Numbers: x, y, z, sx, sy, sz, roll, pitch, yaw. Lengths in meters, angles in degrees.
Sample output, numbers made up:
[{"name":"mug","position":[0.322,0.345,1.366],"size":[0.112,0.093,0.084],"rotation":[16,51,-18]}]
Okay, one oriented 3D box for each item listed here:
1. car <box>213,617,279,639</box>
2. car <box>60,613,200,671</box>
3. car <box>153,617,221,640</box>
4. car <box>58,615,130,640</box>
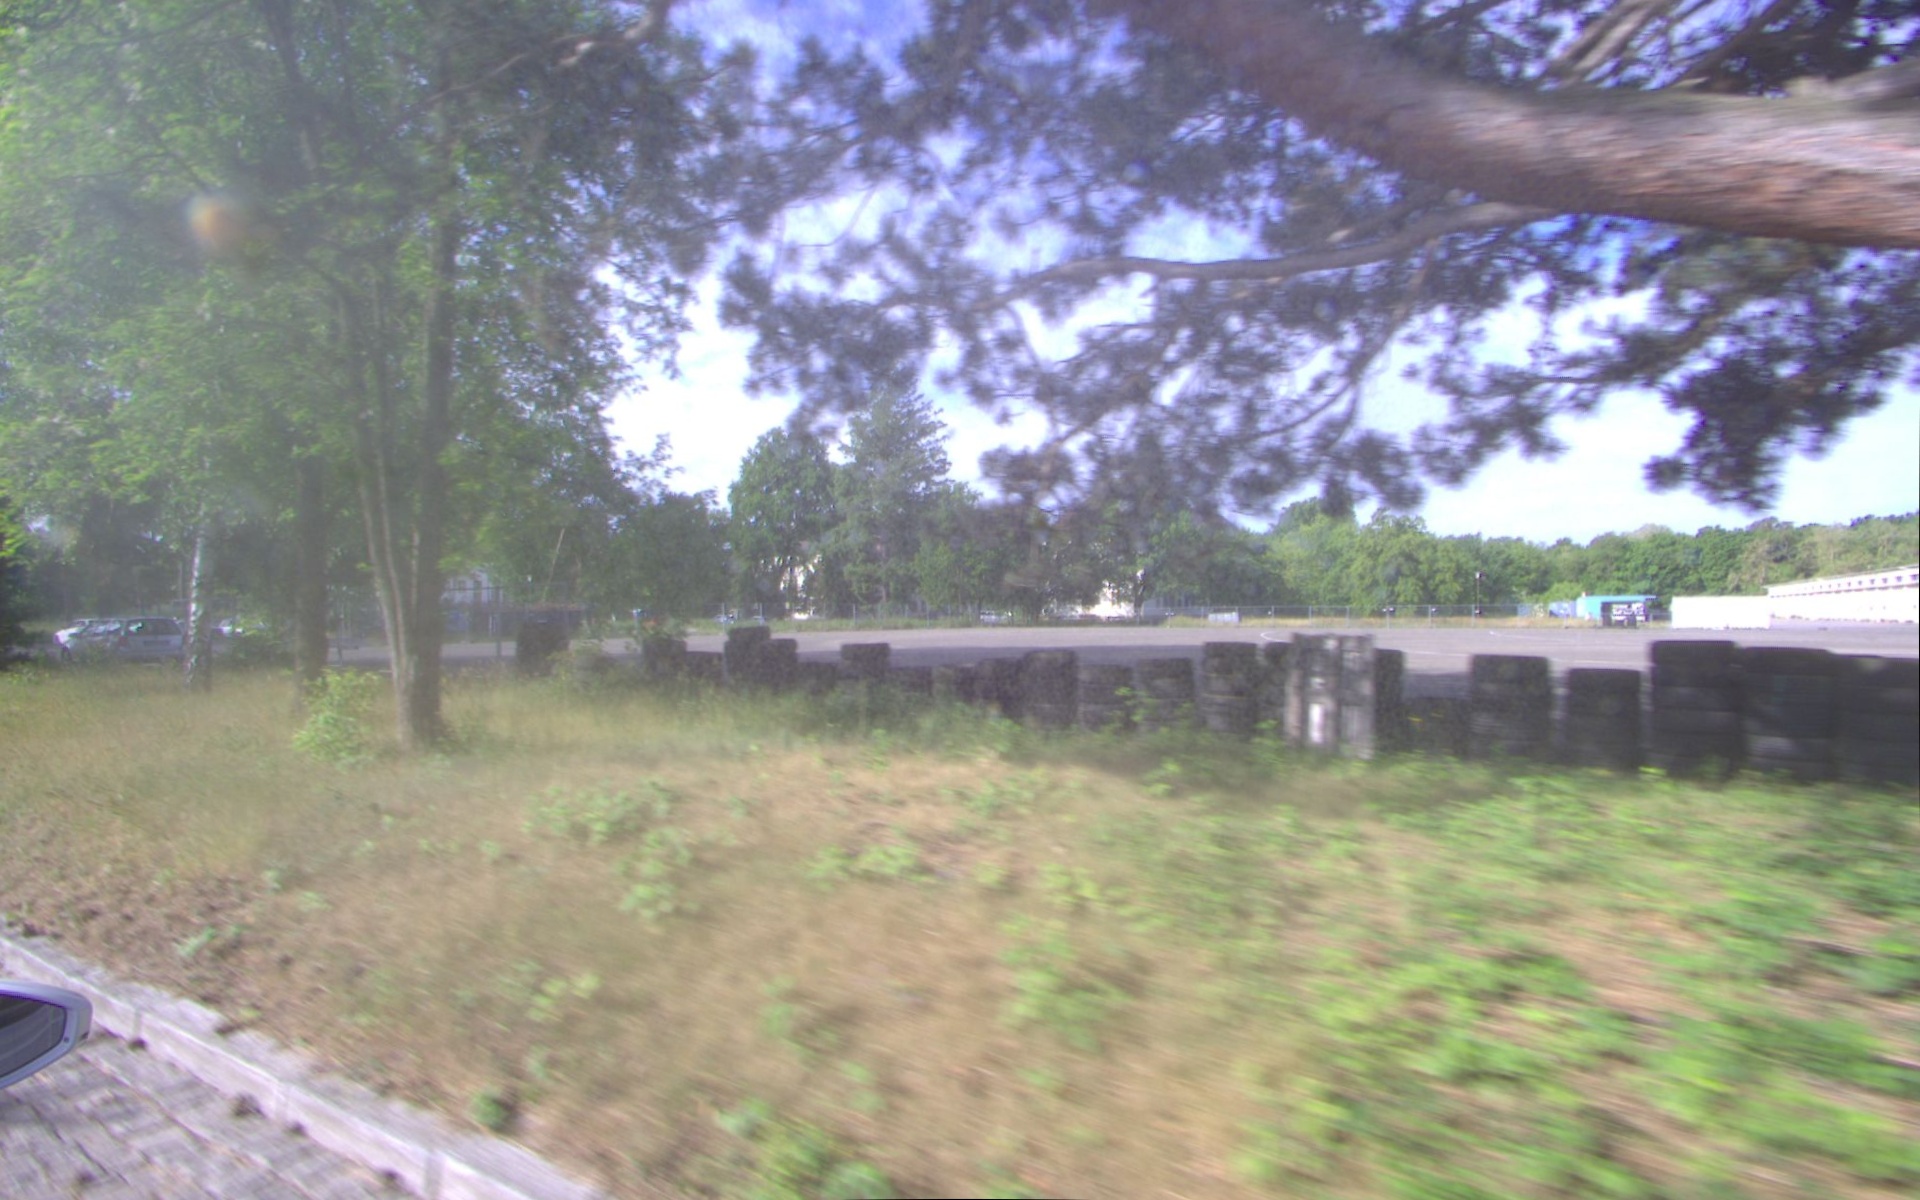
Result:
[{"name":"car","position":[-45.199,1.788,63.386],"size":[4.266,1.329,1.729],"rotation":[-1,0,30]},{"name":"car","position":[-22.899,1.117,27.603],"size":[3.939,1.487,1.665],"rotation":[-1,0,29]},{"name":"car","position":[-46.590,1.705,60.324],"size":[4.266,1.329,1.729],"rotation":[-1,0,29]},{"name":"car","position":[-48.667,1.525,56.256],"size":[4.266,1.329,1.729],"rotation":[-1,0,30]}]
